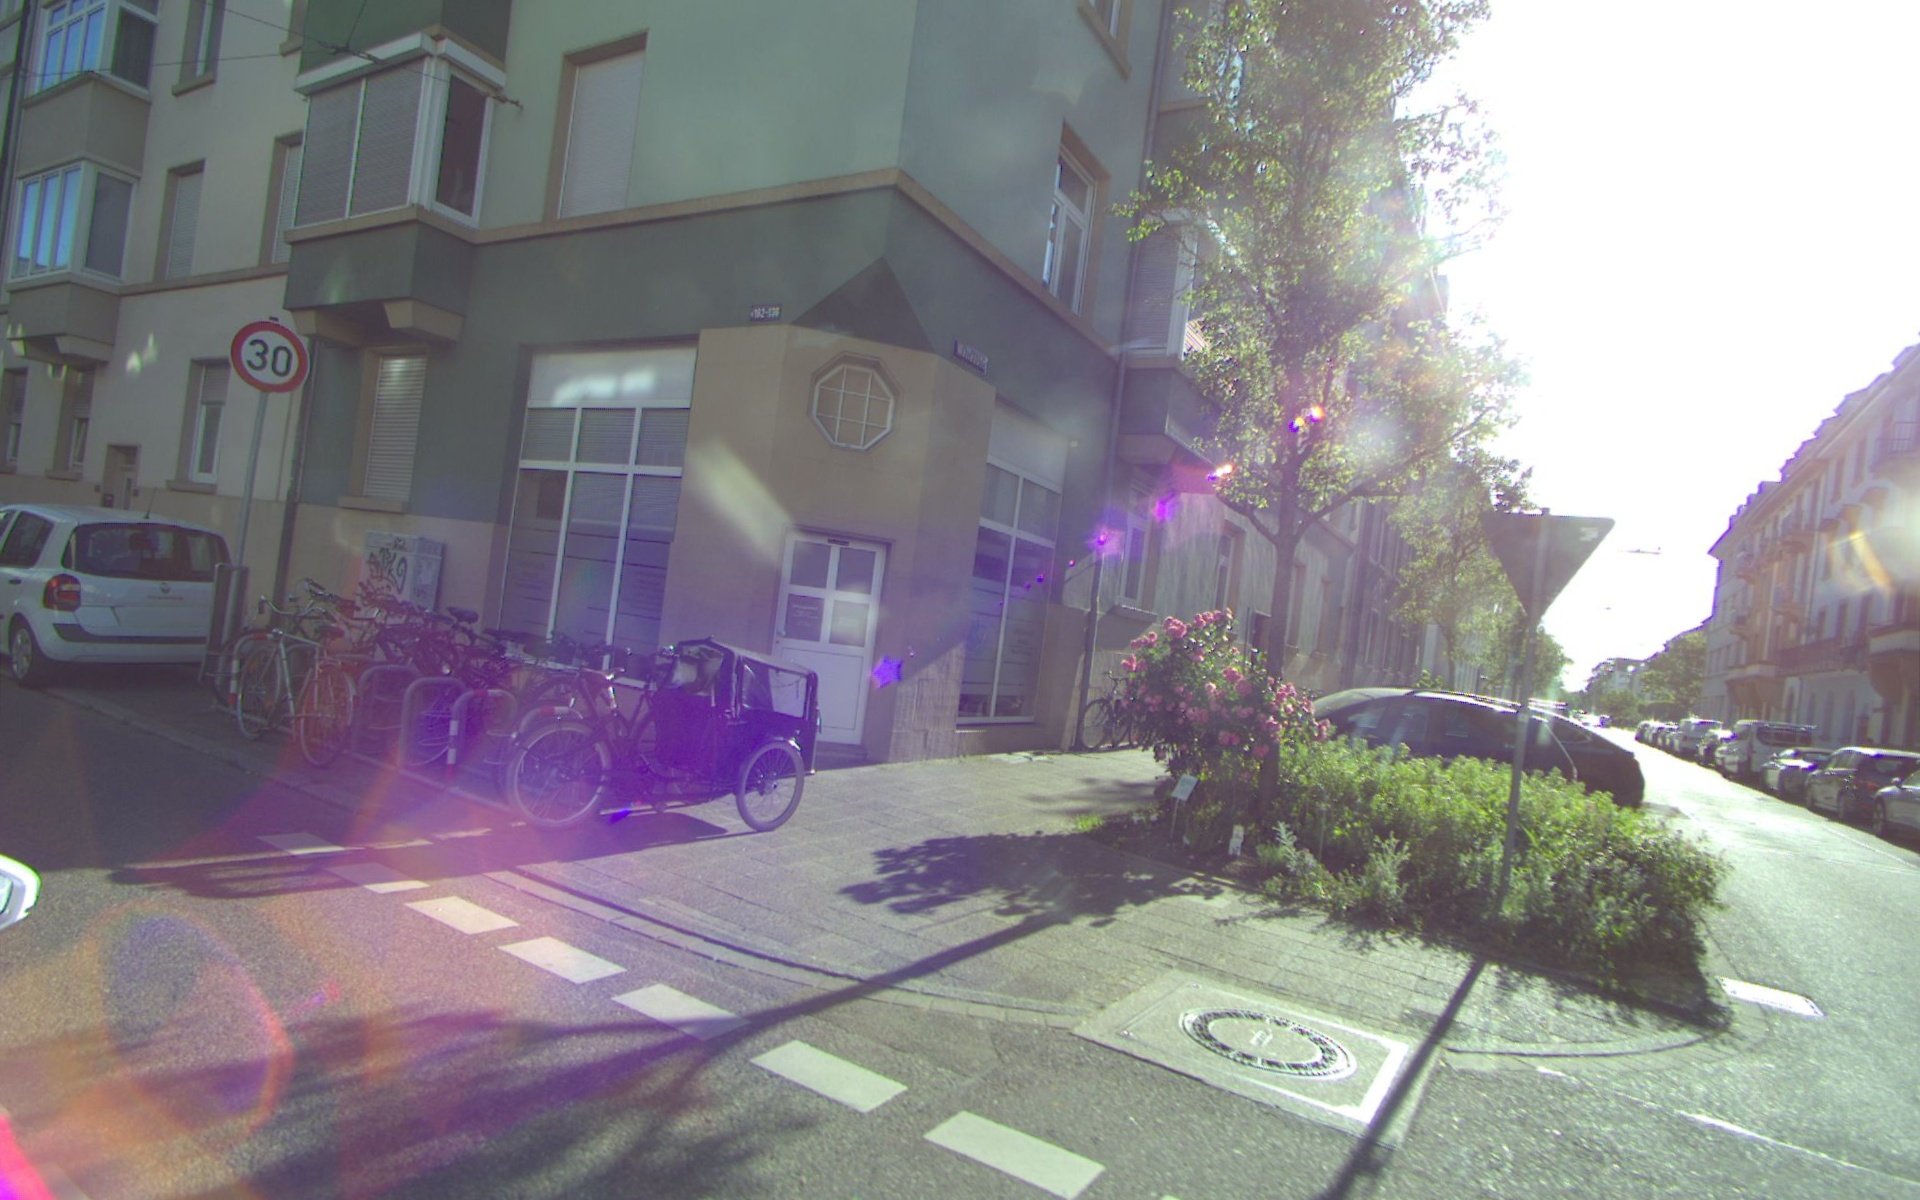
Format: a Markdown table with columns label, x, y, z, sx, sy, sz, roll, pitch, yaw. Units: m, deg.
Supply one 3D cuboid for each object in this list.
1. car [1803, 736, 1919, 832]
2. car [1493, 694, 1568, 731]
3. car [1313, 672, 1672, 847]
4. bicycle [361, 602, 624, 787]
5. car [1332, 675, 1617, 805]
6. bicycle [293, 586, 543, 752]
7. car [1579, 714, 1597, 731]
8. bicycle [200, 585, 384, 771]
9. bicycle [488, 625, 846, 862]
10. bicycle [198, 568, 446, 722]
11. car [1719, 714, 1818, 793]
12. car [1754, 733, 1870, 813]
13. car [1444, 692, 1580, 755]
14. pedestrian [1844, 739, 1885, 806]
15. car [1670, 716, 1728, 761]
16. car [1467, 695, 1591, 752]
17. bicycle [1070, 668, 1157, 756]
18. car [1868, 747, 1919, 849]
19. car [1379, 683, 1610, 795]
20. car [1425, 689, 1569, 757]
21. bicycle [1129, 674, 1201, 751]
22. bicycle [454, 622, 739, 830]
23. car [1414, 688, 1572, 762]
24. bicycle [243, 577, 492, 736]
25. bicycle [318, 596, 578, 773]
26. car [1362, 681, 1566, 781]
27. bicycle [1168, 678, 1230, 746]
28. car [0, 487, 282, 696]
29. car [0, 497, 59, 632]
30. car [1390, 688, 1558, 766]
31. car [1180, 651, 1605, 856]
| label | x | y | z | sx | sy | sz | roll | pitch | yaw |
| --- | --- | --- | --- | --- | --- | --- | --- | --- | --- |
| car | 20.196 | 4.015 | 22.193 | 1.667 | 1.651 | 3.995 | 7 | -1 | 31 |
| car | 38.895 | 7.639 | 68.648 | 3.924 | 1.869 | 1.764 | 7 | -1 | 11 |
| car | 7.214 | 2.117 | 14.040 | 3.924 | 1.660 | 1.764 | 7 | -1 | 11 |
| bicycle | -3.372 | 0.645 | 7.419 | 0.461 | 1.170 | 1.723 | 7 | 2 | 32 |
| car | 9.620 | 2.578 | 19.193 | 4.367 | 1.660 | 1.845 | 7 | -1 | 13 |
| bicycle | -4.326 | 0.531 | 8.162 | 0.461 | 1.170 | 1.723 | 7 | 2 | 32 |
| car | 81.989 | 15.988 | 131.383 | 1.783 | 1.847 | 3.995 | 7 | -1 | 31 |
| bicycle | -4.745 | 0.509 | 7.101 | 1.700 | 1.057 | 0.353 | 7 | 0 | 33 |
| bicycle | -1.758 | 0.814 | 6.417 | 0.834 | 1.169 | 2.087 | 7 | 1 | 32 |
| bicycle | -5.437 | 0.378 | 8.681 | 0.461 | 1.170 | 1.723 | 7 | 2 | 32 |
| car | 26.812 | 5.026 | 33.488 | 1.783 | 2.144 | 3.995 | 7 | -1 | 31 |
| car | 23.103 | 4.640 | 27.423 | 1.591 | 1.651 | 3.995 | 7 | -1 | 31 |
| car | 20.089 | 4.480 | 36.797 | 3.924 | 1.623 | 1.763 | 7 | -1 | 16 |
| pedestrian | 26.506 | 5.037 | 29.481 | 0.598 | 1.819 | 0.730 | 7 | 0 | 31 |
| car | 37.083 | 6.910 | 50.569 | 1.783 | 1.847 | 3.995 | 7 | -1 | 31 |
| car | 23.017 | 4.990 | 40.832 | 3.924 | 1.623 | 1.763 | 7 | -1 | 16 |
| bicycle | 2.149 | 1.528 | 13.863 | 0.448 | 1.075 | 1.899 | 7 | -1 | 29 |
| car | 17.095 | 3.489 | 17.003 | 1.667 | 1.569 | 4.064 | 7 | -1 | 31 |
| car | 11.310 | 2.910 | 21.585 | 3.924 | 1.660 | 1.763 | 7 | -1 | 16 |
| car | 18.258 | 4.169 | 34.388 | 3.924 | 1.623 | 1.763 | 7 | -1 | 16 |
| bicycle | 3.234 | 1.745 | 15.720 | 0.448 | 1.075 | 1.899 | 7 | -1 | 29 |
| bicycle | -2.354 | 0.770 | 6.764 | 0.461 | 1.170 | 1.843 | 7 | 2 | 32 |
| car | 16.537 | 3.856 | 31.400 | 3.924 | 1.623 | 1.763 | 7 | -1 | 16 |
| bicycle | -4.884 | 0.452 | 8.412 | 0.461 | 1.170 | 1.723 | 7 | 2 | 32 |
| bicycle | -3.837 | 0.605 | 7.690 | 0.461 | 1.170 | 1.723 | 7 | 2 | 32 |
| car | 11.861 | 3.047 | 23.966 | 3.924 | 1.660 | 1.763 | 7 | -1 | 16 |
| bicycle | 4.178 | 1.941 | 17.517 | 0.448 | 1.075 | 1.899 | 7 | -1 | 29 |
| car | -8.701 | -0.168 | 9.916 | 3.934 | 1.651 | 1.786 | 6 | -1 | 32 |
| car | -13.530 | -0.673 | 12.867 | 4.255 | 1.595 | 1.786 | 6 | -1 | 32 |
| car | 14.832 | 3.641 | 29.249 | 3.924 | 1.560 | 1.763 | 7 | -1 | 16 |
| car | 4.755 | 1.660 | 11.524 | 4.001 | 1.598 | 1.642 | 7 | -1 | 4 |
